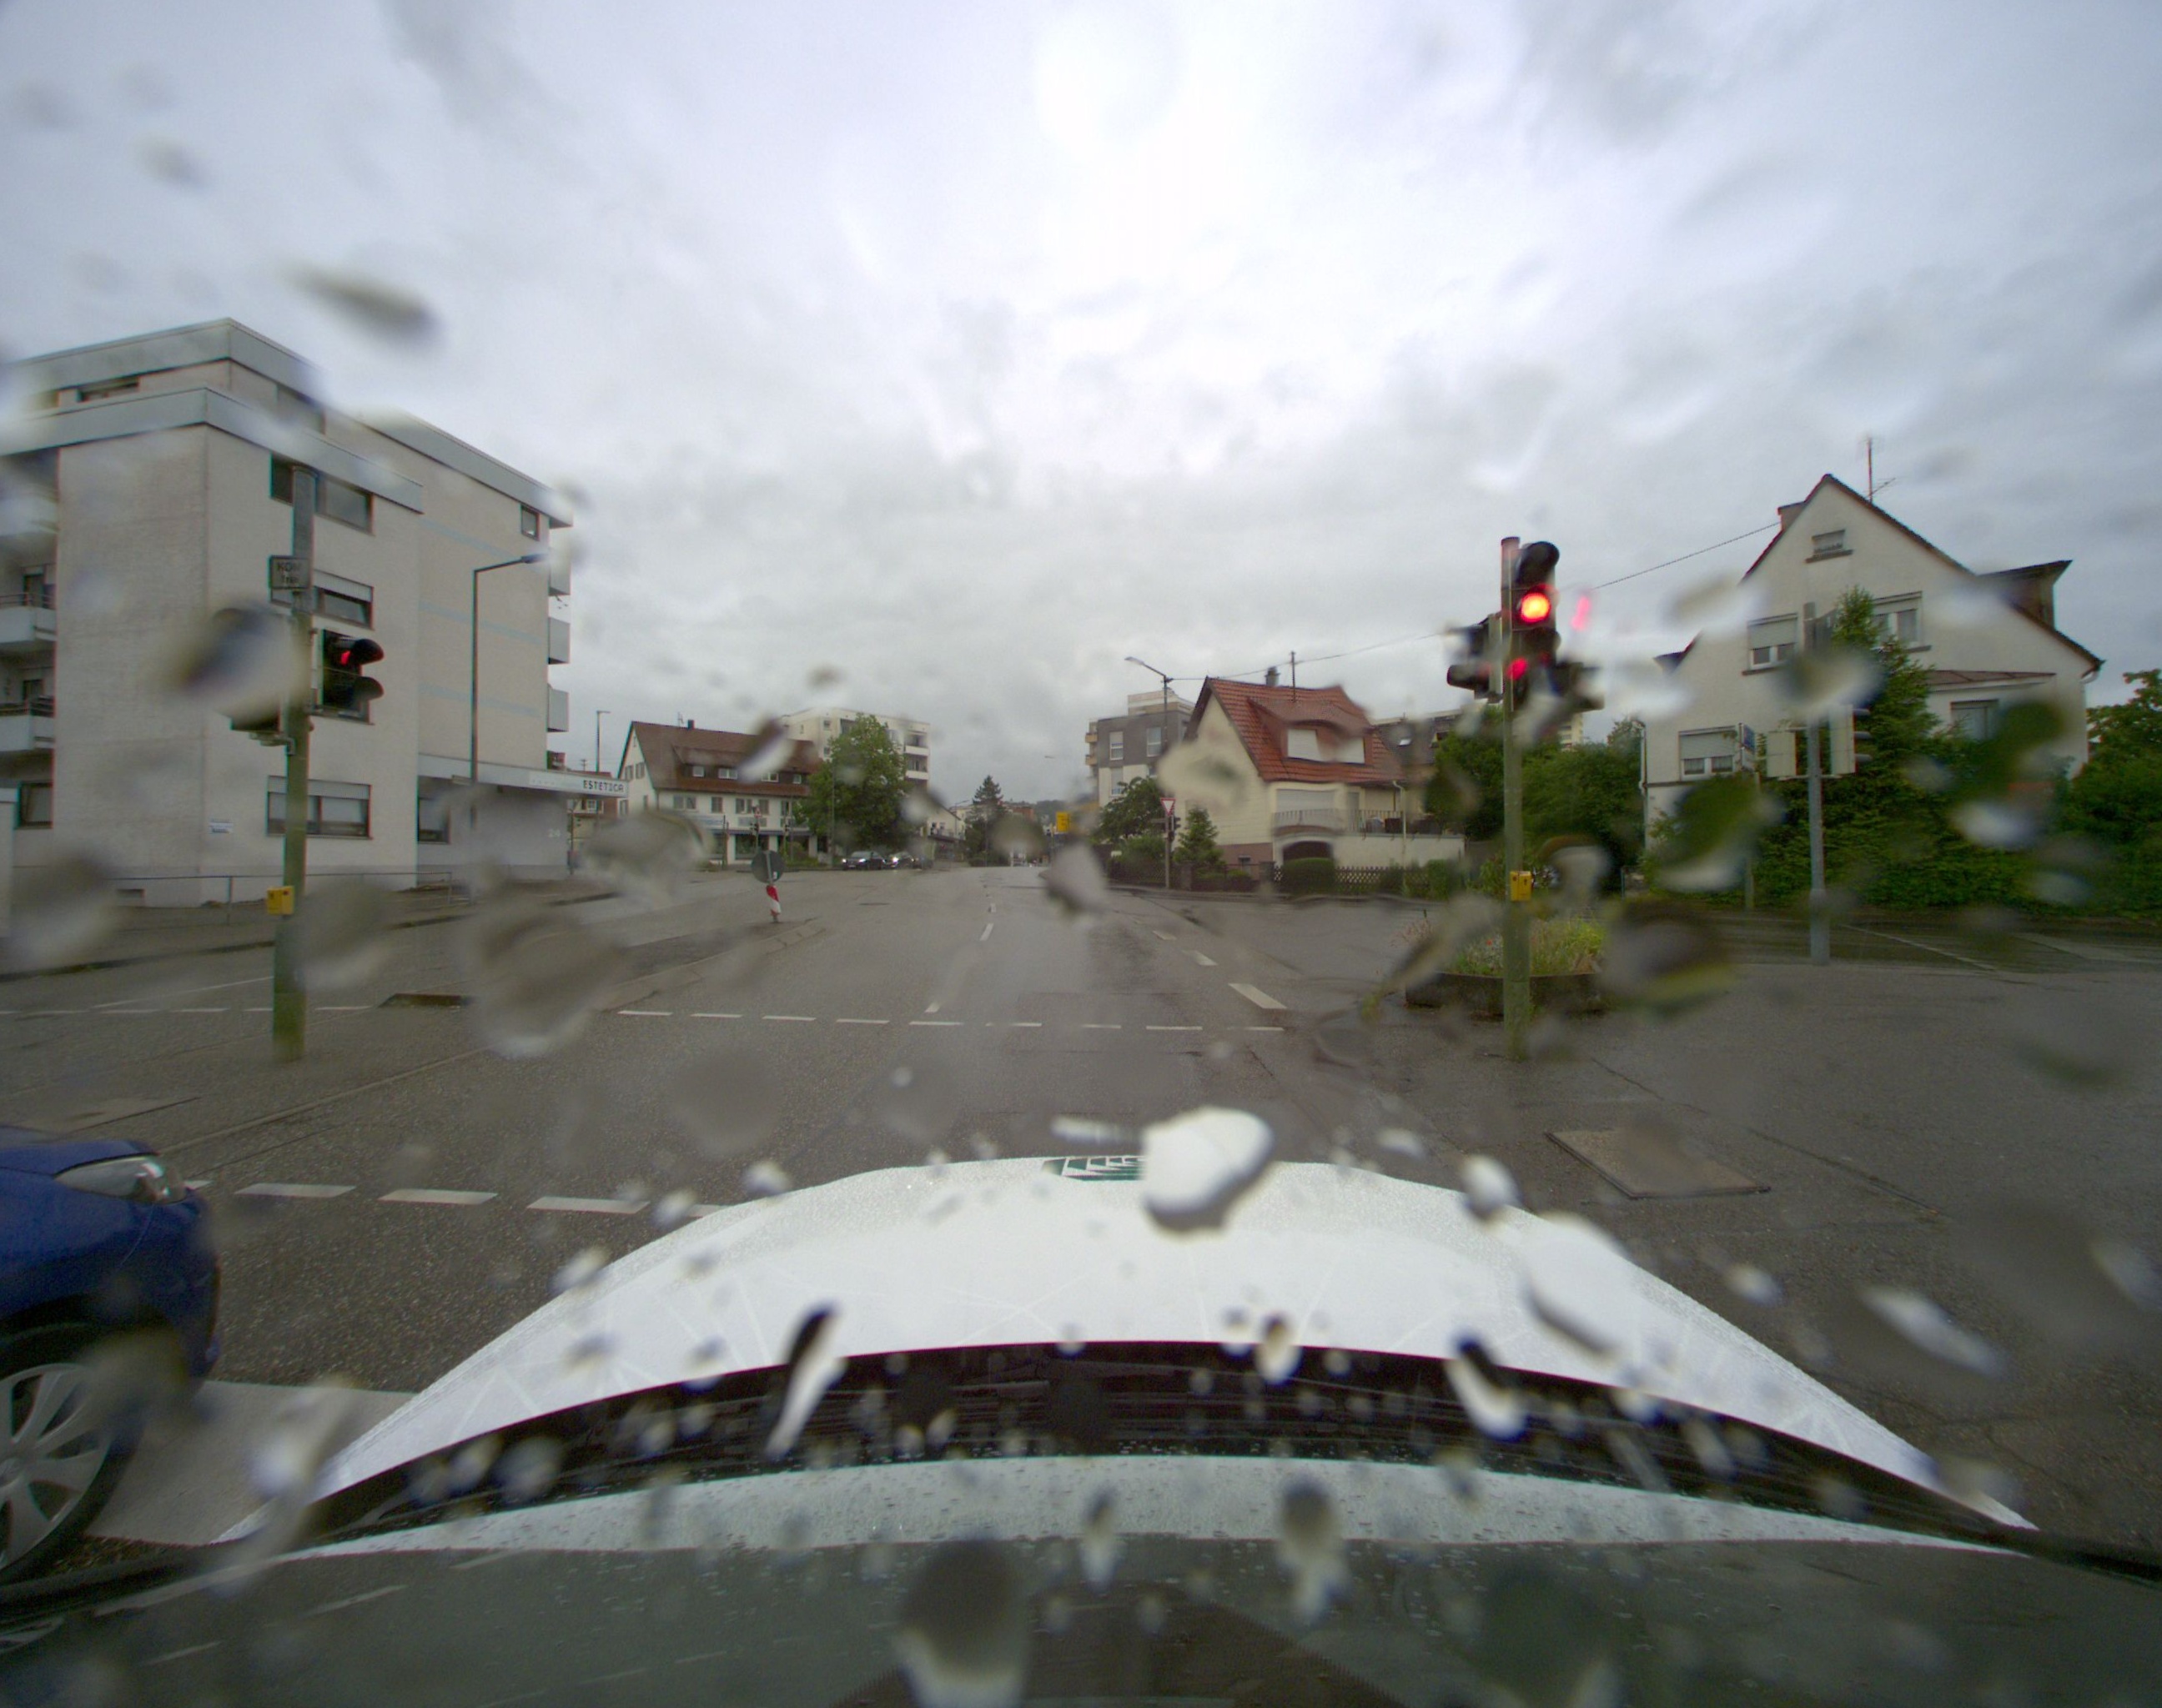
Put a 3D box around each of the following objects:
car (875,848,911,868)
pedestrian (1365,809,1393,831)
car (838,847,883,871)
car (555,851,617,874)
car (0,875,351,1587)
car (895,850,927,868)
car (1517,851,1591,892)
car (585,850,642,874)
[{"bbox_3d":[-15.278,0.344,66.308,1.960,1.512,3.999,0,-1,0],"label":"car"},{"bbox_3d":[12.761,-1.435,34.865,0.918,0.883,0.632,0,-3,-18],"label":"pedestrian"},{"bbox_3d":[-15.898,0.363,58.849,1.987,1.625,4.538,0,-1,0],"label":"car"},{"bbox_3d":[-41.224,0.677,67.813,4.093,1.843,1.864,0,-1,-44],"label":"car"},{"bbox_3d":[-2.962,0.780,0.735,1.499,1.413,3.365,0,0,2],"label":"car"},{"bbox_3d":[-14.967,0.442,71.804,1.873,1.597,4.184,0,-1,0],"label":"car"},{"bbox_3d":[17.102,0.595,29.379,1.794,1.362,4.025,-1,-1,37],"label":"car"},{"bbox_3d":[-38.450,0.637,66.990,3.706,1.920,1.864,0,-1,-44],"label":"car"}]
